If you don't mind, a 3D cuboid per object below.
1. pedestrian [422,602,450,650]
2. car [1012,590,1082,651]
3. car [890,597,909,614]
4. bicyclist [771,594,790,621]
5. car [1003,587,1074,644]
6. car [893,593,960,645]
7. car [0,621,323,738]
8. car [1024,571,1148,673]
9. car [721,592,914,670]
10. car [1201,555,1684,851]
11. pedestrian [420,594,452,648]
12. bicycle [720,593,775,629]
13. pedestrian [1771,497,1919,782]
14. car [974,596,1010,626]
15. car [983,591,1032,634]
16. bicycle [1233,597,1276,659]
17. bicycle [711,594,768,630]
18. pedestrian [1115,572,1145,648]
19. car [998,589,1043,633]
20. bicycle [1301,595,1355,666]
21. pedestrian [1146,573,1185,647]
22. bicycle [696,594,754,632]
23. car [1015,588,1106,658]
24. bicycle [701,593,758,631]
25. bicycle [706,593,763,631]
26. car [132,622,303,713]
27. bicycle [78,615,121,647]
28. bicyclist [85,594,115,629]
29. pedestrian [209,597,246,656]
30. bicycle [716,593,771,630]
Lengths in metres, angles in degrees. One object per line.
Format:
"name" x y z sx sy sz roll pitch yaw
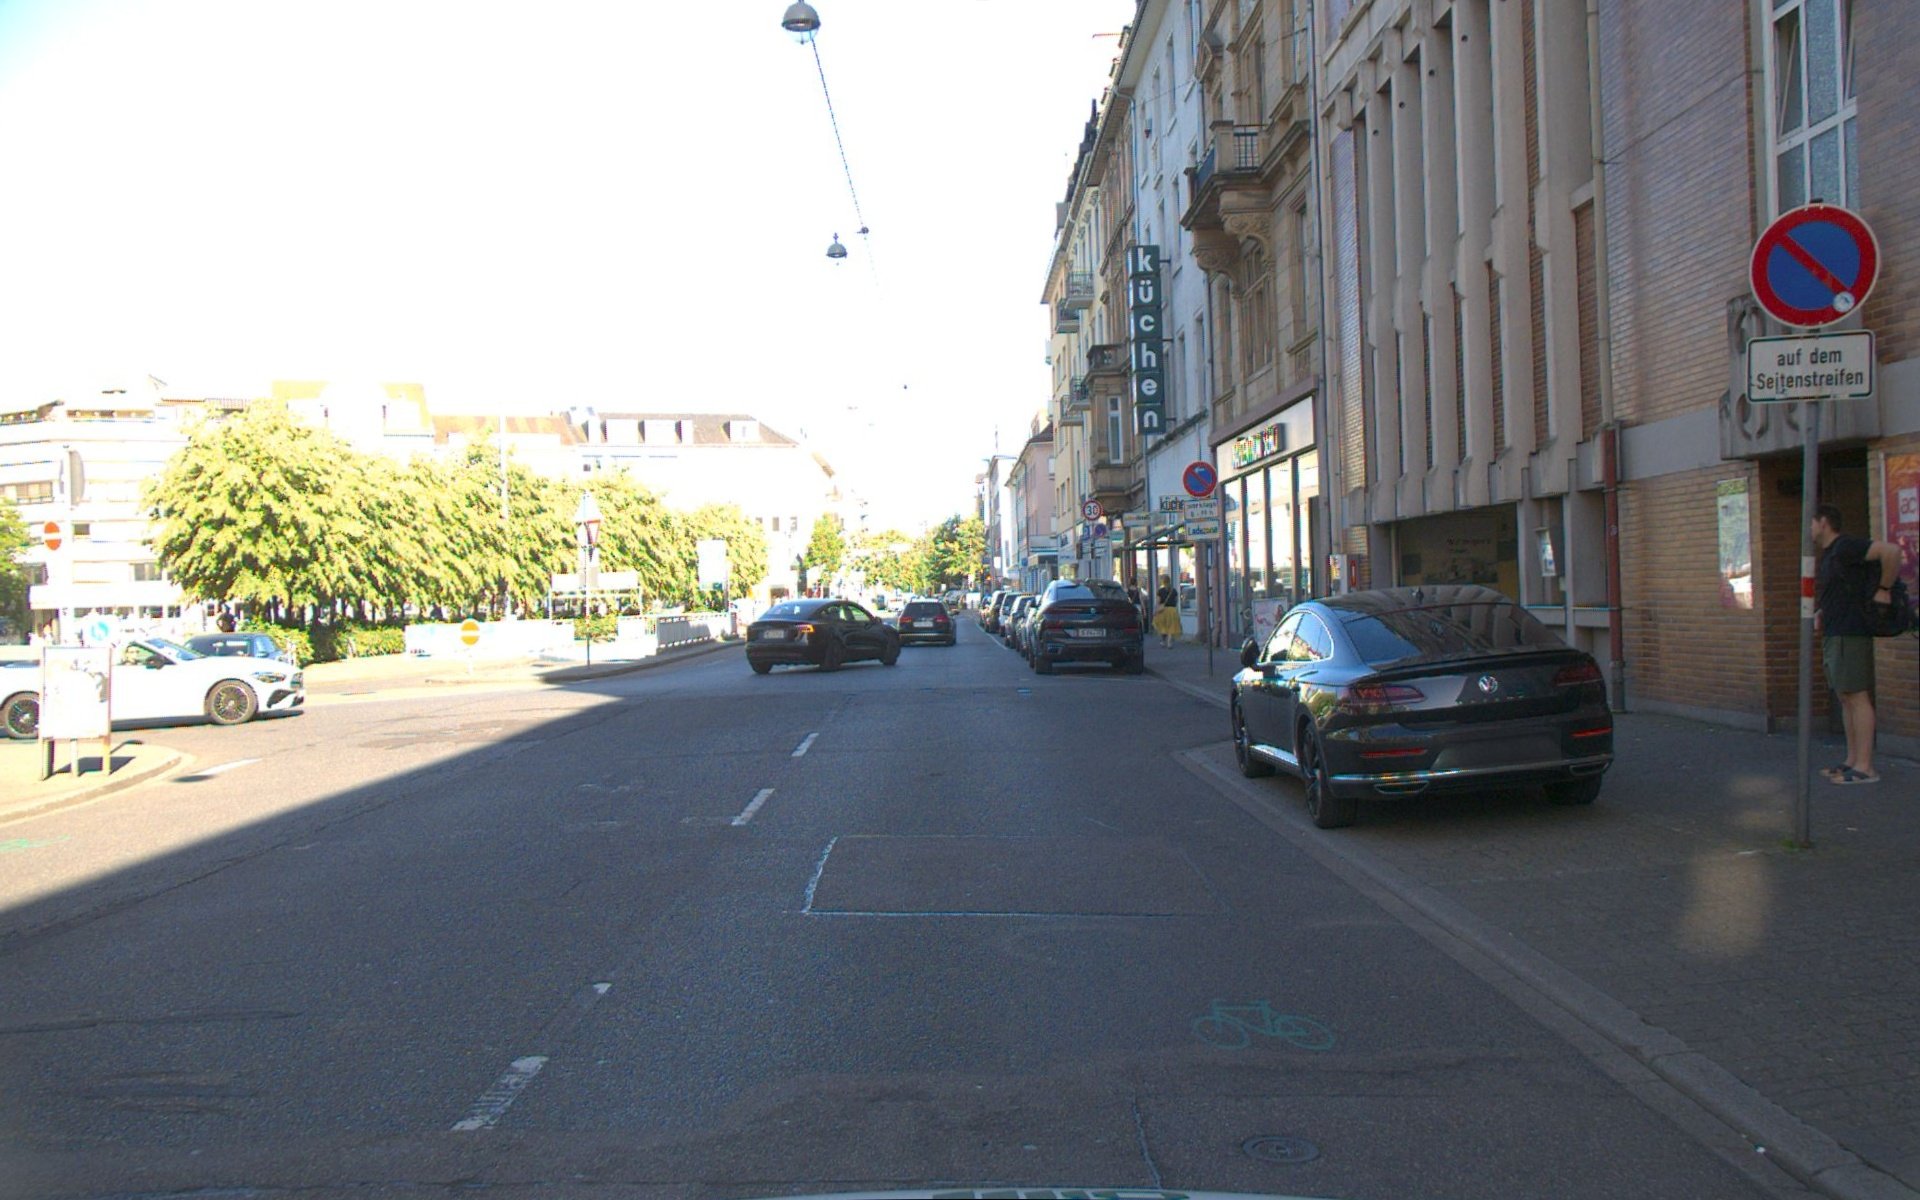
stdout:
"pedestrian" -23.369 1.154 73.772 0.717 2.145 0.967 -2 0 21
"car" 2.221 0.497 42.904 1.575 1.474 3.830 -1 0 -1
"car" -6.654 0.576 182.547 1.952 1.803 4.001 -1 1 1
"bicyclist" -11.610 0.507 106.967 1.123 1.715 0.819 -2 0 -4
"car" 2.253 0.418 48.490 1.801 1.573 4.227 -1 0 -1
"car" -1.022 0.568 52.167 1.895 1.513 4.272 -1 0 1
"car" -12.644 1.197 25.374 5.013 1.447 1.994 -3 0 -13
"car" 2.297 0.366 31.246 1.933 1.755 4.823 -1 0 -1
"car" -2.871 0.638 34.334 1.956 1.506 4.490 -1 -1 26
"car" 3.125 0.577 11.936 1.879 1.504 4.964 -6 0 0
"pedestrian" -21.034 0.831 66.361 0.717 2.145 0.967 -2 0 21
"bicycle" -12.583 0.656 97.939 3.054 2.049 0.909 -1 0 8
"pedestrian" 5.660 0.222 10.281 0.678 1.663 0.889 -4 0 -1
"car" 1.615 0.598 84.854 1.756 1.485 3.867 -1 -1 -1
"car" 1.903 0.527 67.107 1.682 1.664 4.082 -1 -1 -2
"bicycle" 5.537 0.502 31.177 0.351 1.103 1.941 -4 0 -1
"bicycle" -12.775 0.697 95.816 3.054 2.049 0.909 -1 0 8
"pedestrian" 4.044 0.238 39.393 0.607 1.797 0.518 -2 0 2
"car" 2.223 0.378 61.539 1.580 1.573 2.855 -1 0 0
"bicycle" 5.788 0.460 26.068 0.351 1.063 1.790 -4 0 -1
"pedestrian" 4.894 0.233 39.463 0.784 1.704 0.589 -4 0 2
"bicycle" -13.165 0.710 92.817 3.054 2.049 0.909 -1 0 8
"car" 2.262 0.490 38.251 1.801 1.513 4.184 -1 0 -1
"bicycle" -13.061 0.695 93.775 3.054 2.049 0.909 -1 0 8
"bicycle" -12.932 0.679 94.768 3.054 2.049 0.909 -1 0 8
"car" -14.491 1.264 32.558 1.715 1.447 4.532 -2 2 -7
"bicycle" -43.509 1.540 83.655 0.945 1.529 2.685 -1 0 -6
"bicyclist" -43.553 0.568 83.769 0.945 1.730 1.209 -1 0 -6
"pedestrian" -26.805 0.962 60.544 0.717 2.145 0.967 -2 0 21
"bicycle" -12.685 0.682 96.900 3.054 2.049 0.909 -1 0 8
